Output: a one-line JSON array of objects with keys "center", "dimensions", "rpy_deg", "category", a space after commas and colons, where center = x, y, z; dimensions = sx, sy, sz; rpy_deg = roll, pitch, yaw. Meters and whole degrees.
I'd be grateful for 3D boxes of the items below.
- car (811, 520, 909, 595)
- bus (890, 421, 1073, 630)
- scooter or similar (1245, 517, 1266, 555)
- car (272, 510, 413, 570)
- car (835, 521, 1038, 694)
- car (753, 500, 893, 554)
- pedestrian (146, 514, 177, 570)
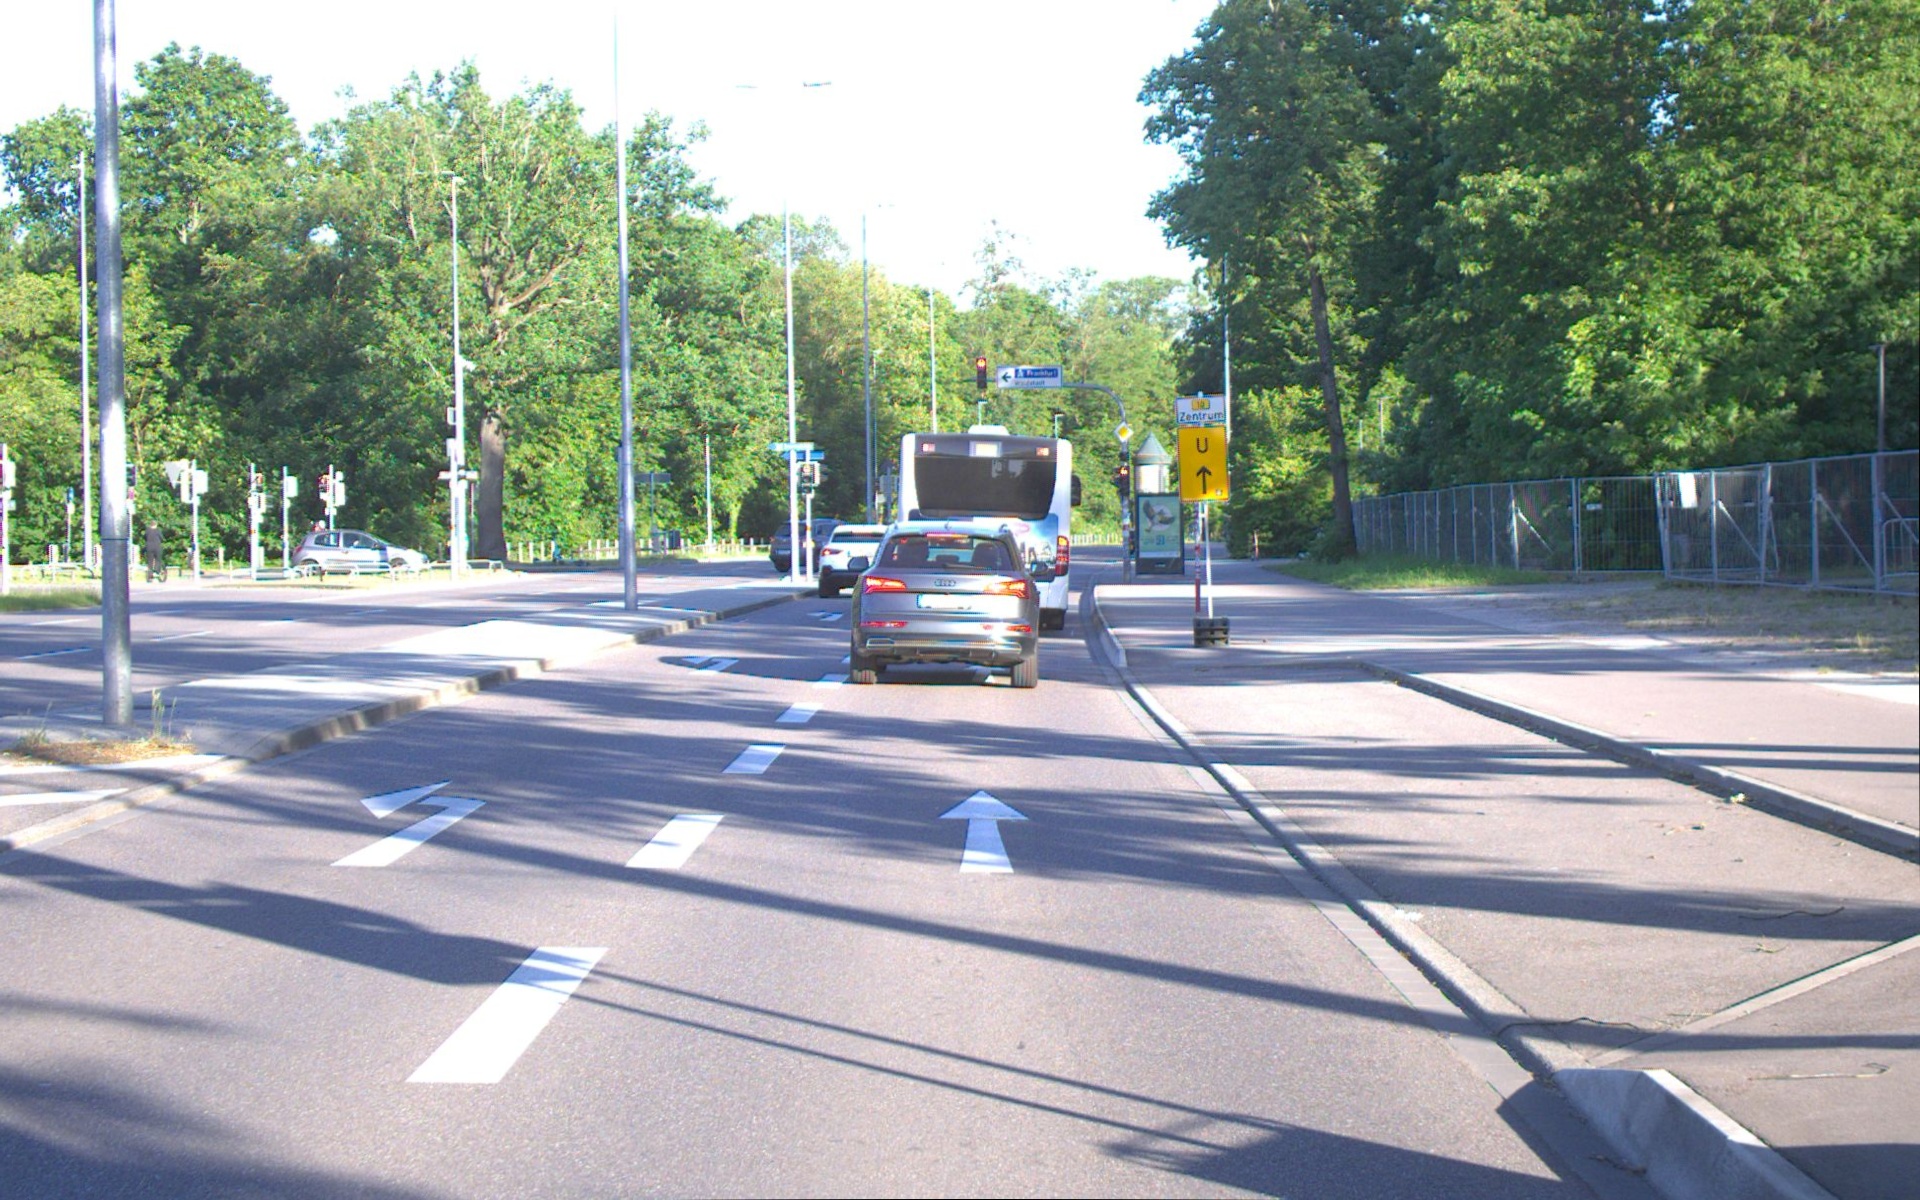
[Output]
[{"center": [-2.092, -0.925, 73.118], "dimensions": [1.836, 1.513, 4.000], "rpy_deg": [0, 2, 2], "category": "car"}, {"center": [0.457, -1.156, 54.177], "dimensions": [2.595, 2.978, 9.326], "rpy_deg": [1, 1, 2], "category": "bus"}, {"center": [11.439, -2.480, 133.192], "dimensions": [0.508, 1.439, 2.023], "rpy_deg": [-1, 1, -3], "category": "scooter or similar"}, {"center": [-18.136, -1.766, 101.155], "dimensions": [3.986, 1.634, 2.066], "rpy_deg": [-2, 1, -8], "category": "car"}, {"center": [-0.182, 0.027, 35.275], "dimensions": [1.898, 1.626, 4.000], "rpy_deg": [1, 2, 2], "category": "car"}, {"center": [-4.325, -2.309, 108.997], "dimensions": [2.102, 1.579, 4.222], "rpy_deg": [0, 2, 40], "category": "car"}, {"center": [-22.330, -1.613, 96.156], "dimensions": [0.647, 1.554, 0.539], "rpy_deg": [-2, 2, -40], "category": "pedestrian"}]
